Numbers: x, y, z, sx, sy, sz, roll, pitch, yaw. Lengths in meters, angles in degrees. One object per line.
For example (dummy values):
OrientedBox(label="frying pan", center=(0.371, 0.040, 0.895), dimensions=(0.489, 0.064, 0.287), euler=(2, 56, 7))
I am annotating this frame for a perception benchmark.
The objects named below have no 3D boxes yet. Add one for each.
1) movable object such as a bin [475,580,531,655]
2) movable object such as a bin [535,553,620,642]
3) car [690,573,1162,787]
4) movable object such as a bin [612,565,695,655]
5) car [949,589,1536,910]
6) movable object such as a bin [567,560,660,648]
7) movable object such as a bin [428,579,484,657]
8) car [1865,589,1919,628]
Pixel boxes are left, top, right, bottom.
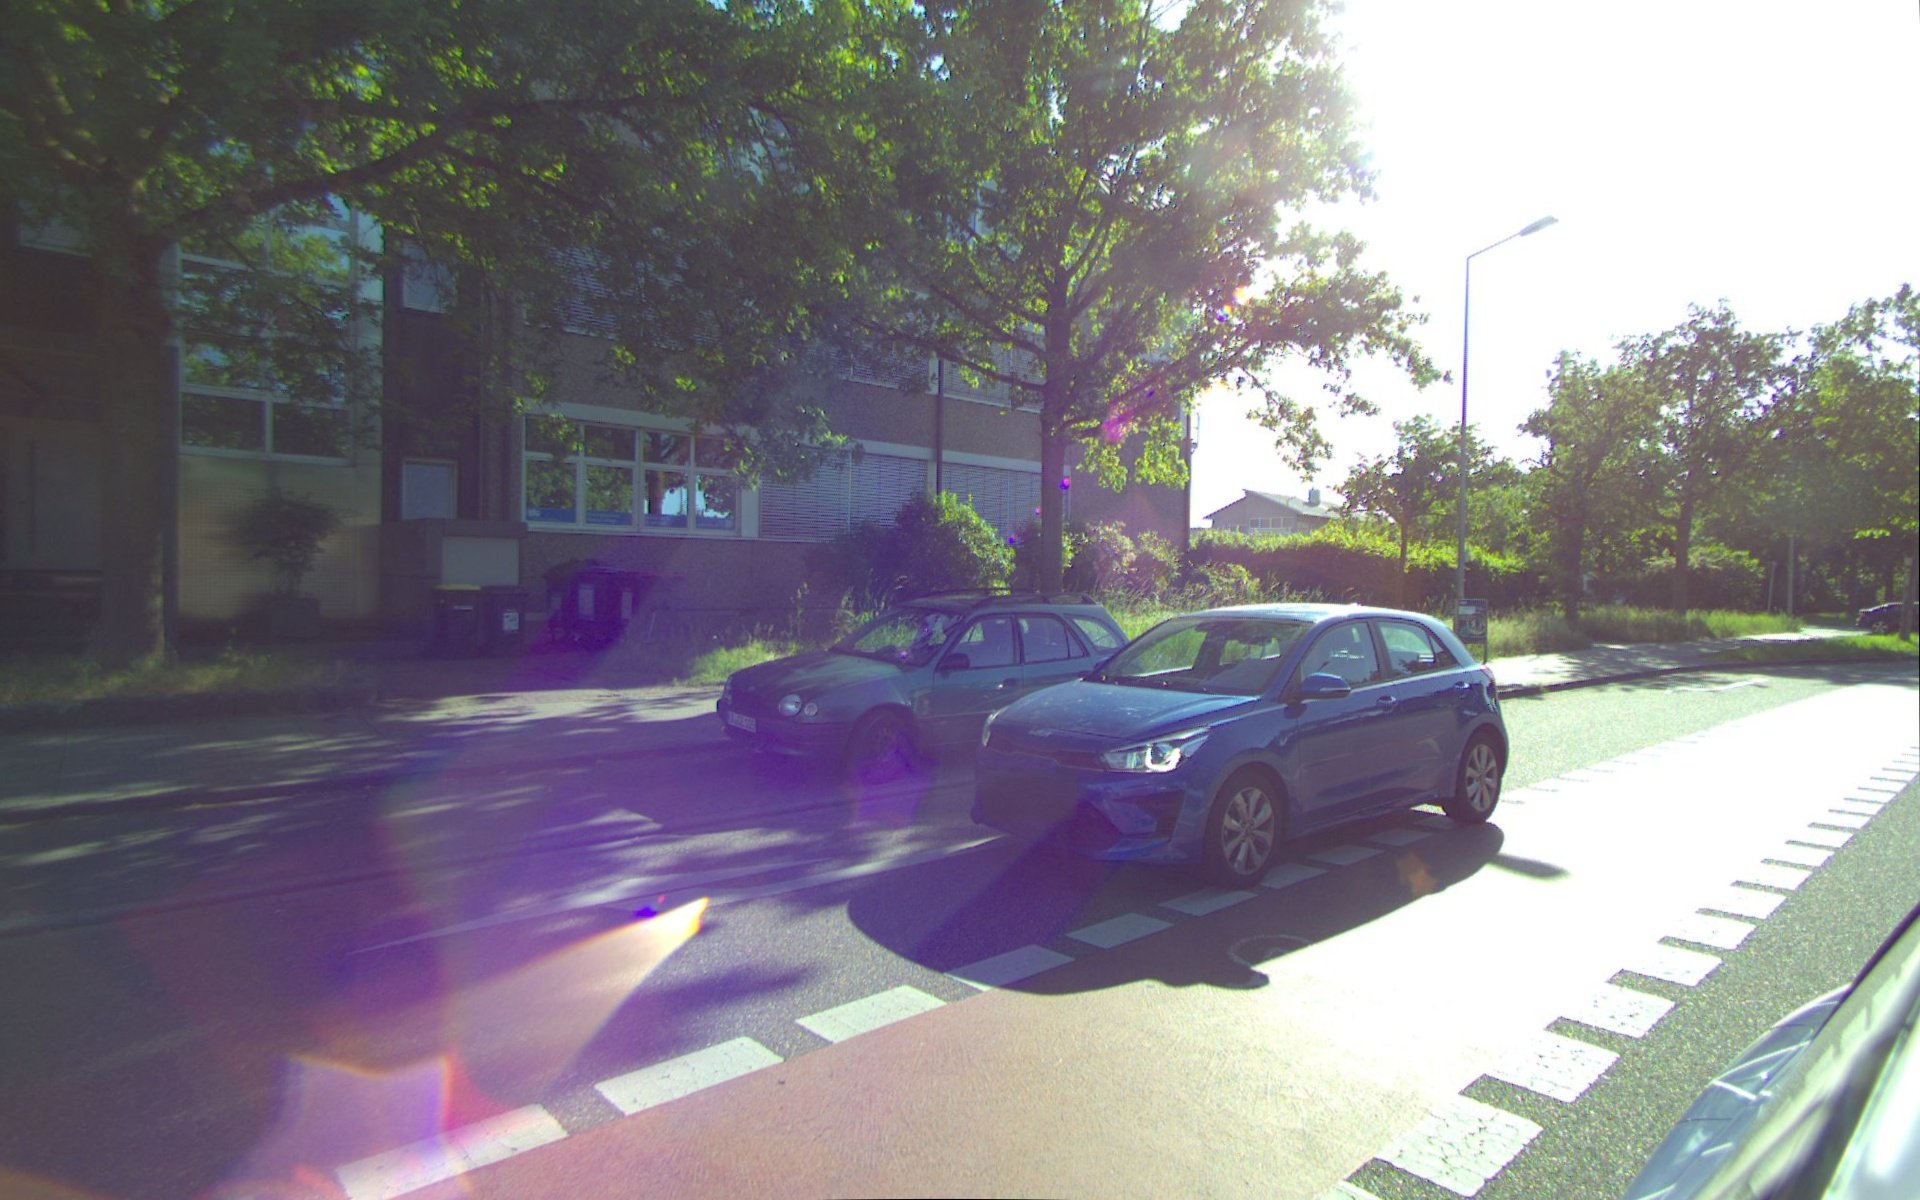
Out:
OrientedBox(label="movable object such as a bin", center=(-6.761, 0.240, 14.965), dimensions=(0.604, 1.075, 0.634), euler=(0, 1, -42))
OrientedBox(label="movable object such as a bin", center=(-6.782, -0.074, 17.928), dimensions=(1.024, 1.501, 1.309), euler=(0, 2, -41))
OrientedBox(label="car", center=(-0.148, 0.576, 9.119), dimensions=(4.068, 1.487, 1.705), euler=(1, 1, -41))
OrientedBox(label="movable object such as a bin", center=(-4.783, 0.125, 15.760), dimensions=(0.878, 1.323, 1.186), euler=(0, 2, -37))
OrientedBox(label="car", center=(1.969, 0.680, 6.524), dimensions=(3.868, 1.487, 1.654), euler=(0, 0, -37))
OrientedBox(label="movable object such as a bin", center=(-5.773, 0.043, 16.847), dimensions=(1.070, 1.388, 1.186), euler=(0, 2, -43))
OrientedBox(label="movable object such as a bin", center=(-7.217, 0.245, 14.484), dimensions=(0.575, 1.070, 0.625), euler=(0, 1, -42))
OrientedBox(label="car", center=(41.082, 0.390, 42.364), dimensions=(1.862, 1.538, 4.488), euler=(-1, 2, -37))
